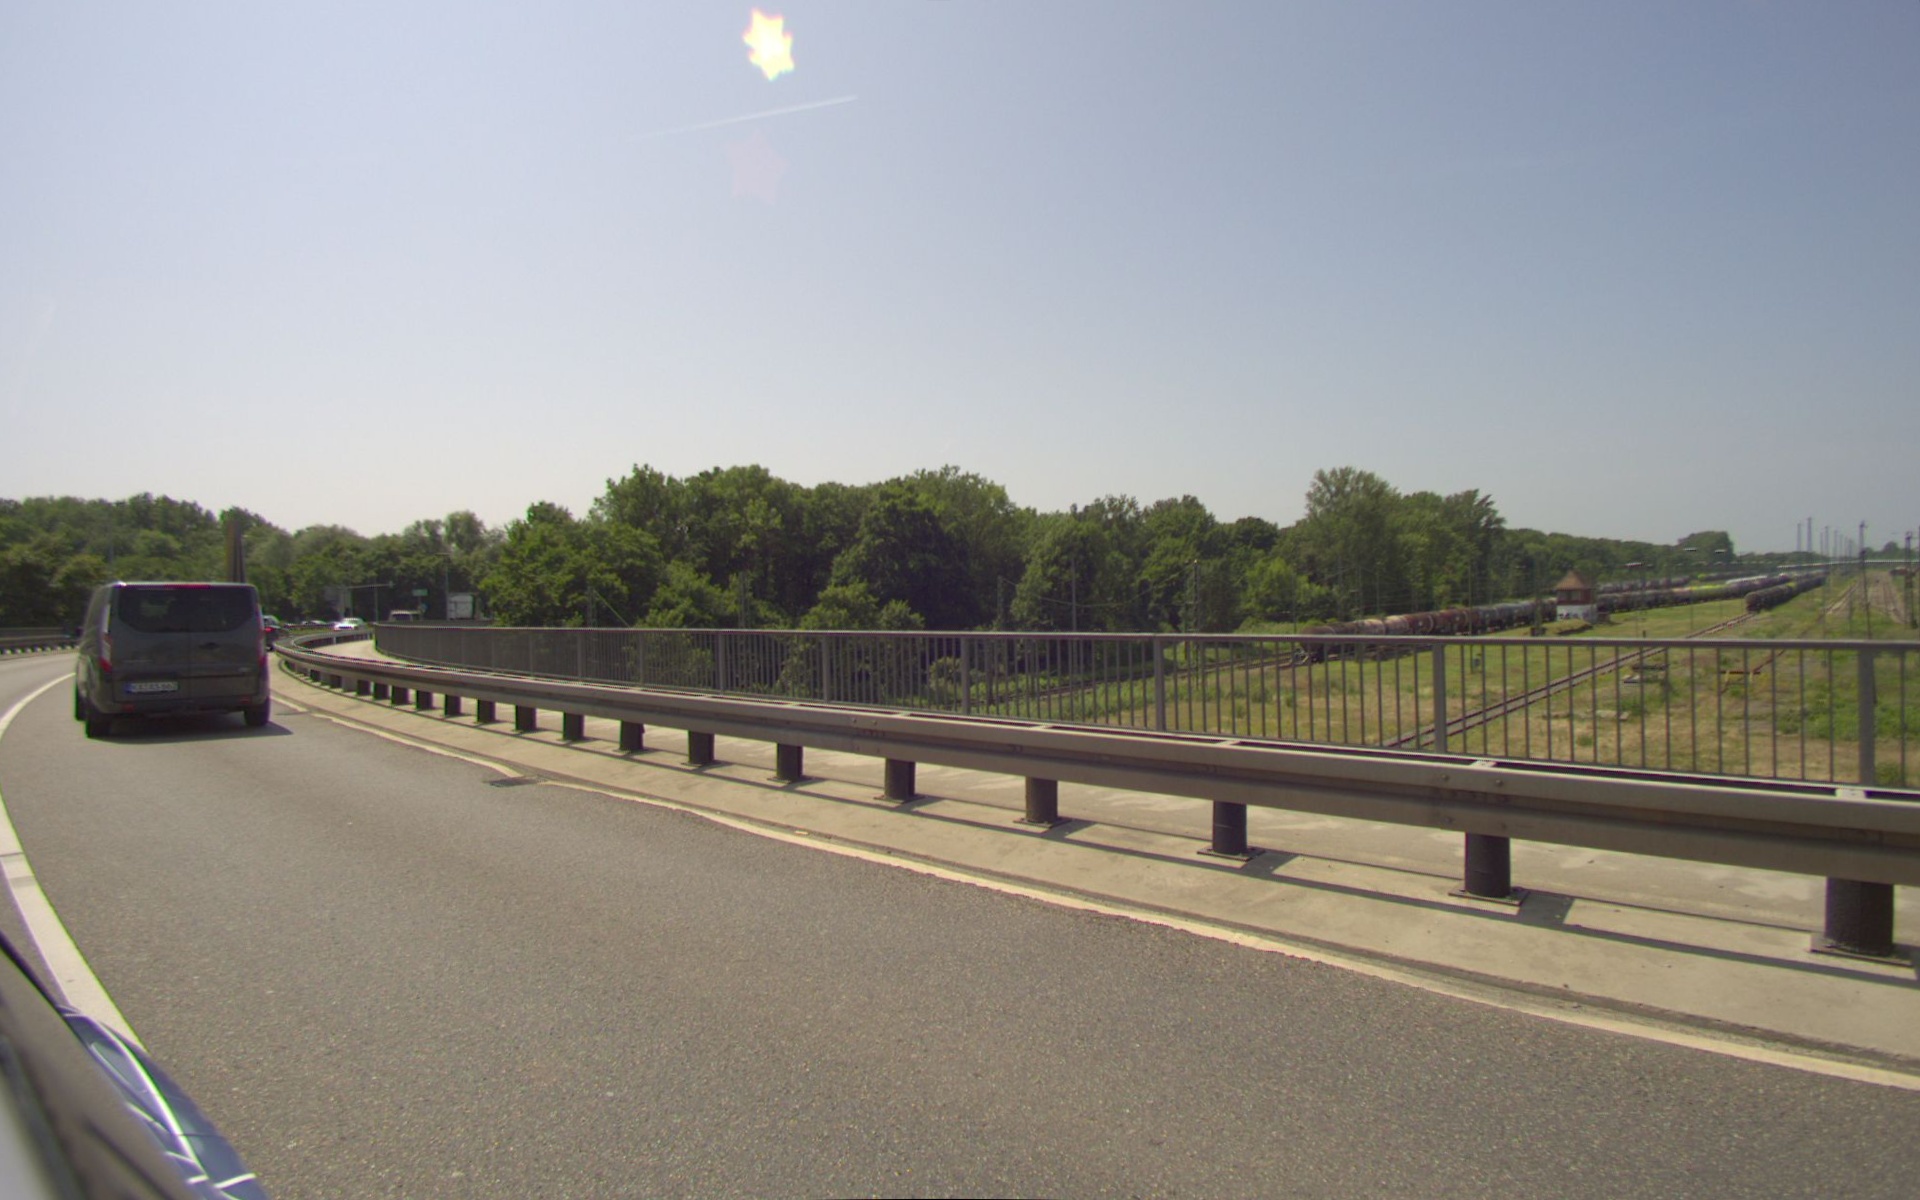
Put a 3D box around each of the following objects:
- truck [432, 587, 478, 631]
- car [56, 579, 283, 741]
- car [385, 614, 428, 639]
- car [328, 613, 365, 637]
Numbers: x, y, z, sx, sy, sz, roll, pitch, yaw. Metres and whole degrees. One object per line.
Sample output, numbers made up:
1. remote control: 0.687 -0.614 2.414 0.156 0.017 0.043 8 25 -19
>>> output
1. truck: -47.715 0.936 95.837 2.669 4.022 6.202 1 -2 -15
2. car: -11.740 0.756 14.860 5.273 1.973 1.984 -1 -1 45
3. car: -45.369 2.154 83.050 1.836 2.015 4.826 0 -1 -13
4. car: -54.074 2.200 89.209 1.966 2.029 4.012 -1 -1 -19
